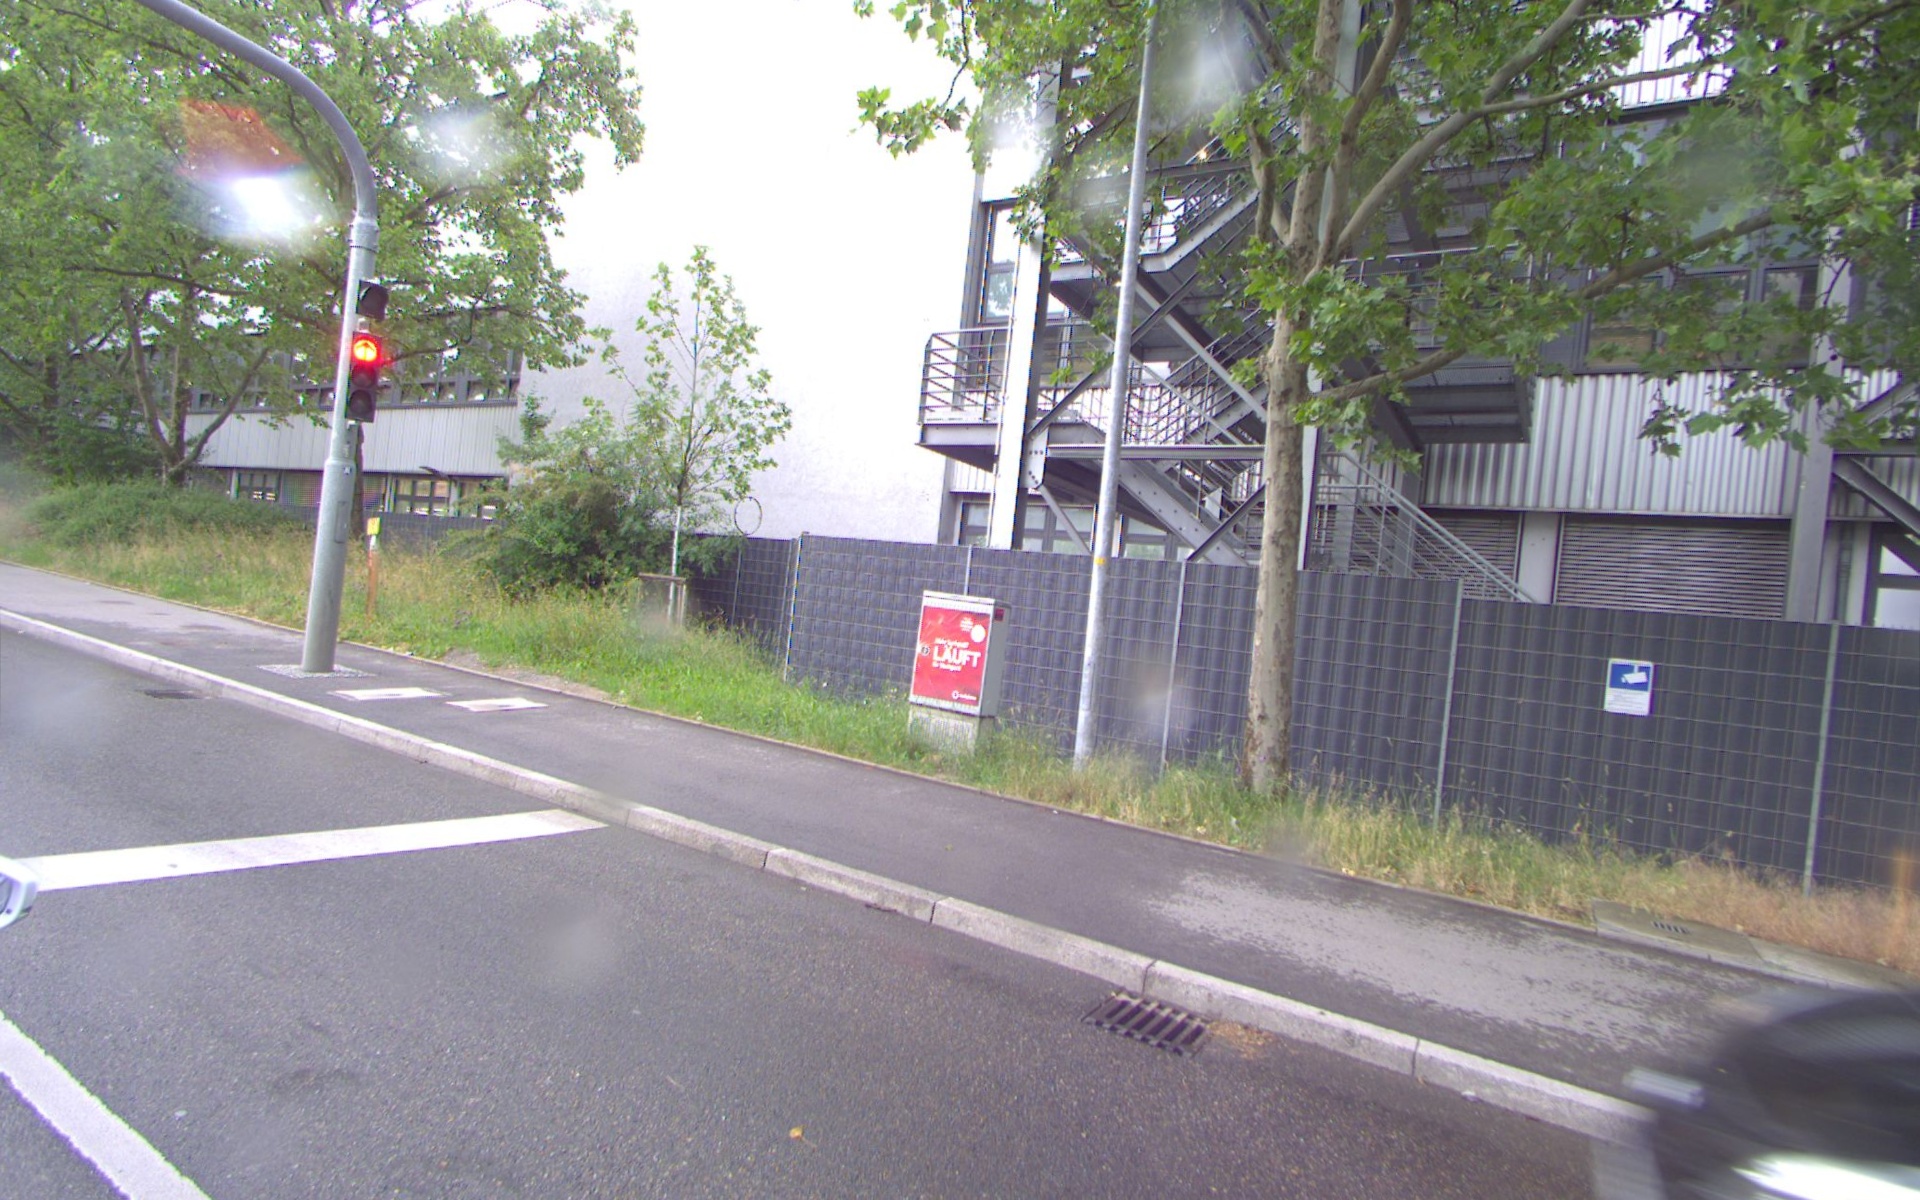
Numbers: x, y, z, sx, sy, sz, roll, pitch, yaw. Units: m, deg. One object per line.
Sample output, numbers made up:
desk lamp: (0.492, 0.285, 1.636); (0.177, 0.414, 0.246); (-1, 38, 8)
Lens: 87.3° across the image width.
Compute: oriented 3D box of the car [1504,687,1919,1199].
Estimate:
car: (3.129, 1.182, 1.381); (4.005, 1.513, 1.879); (7, 1, 28)
